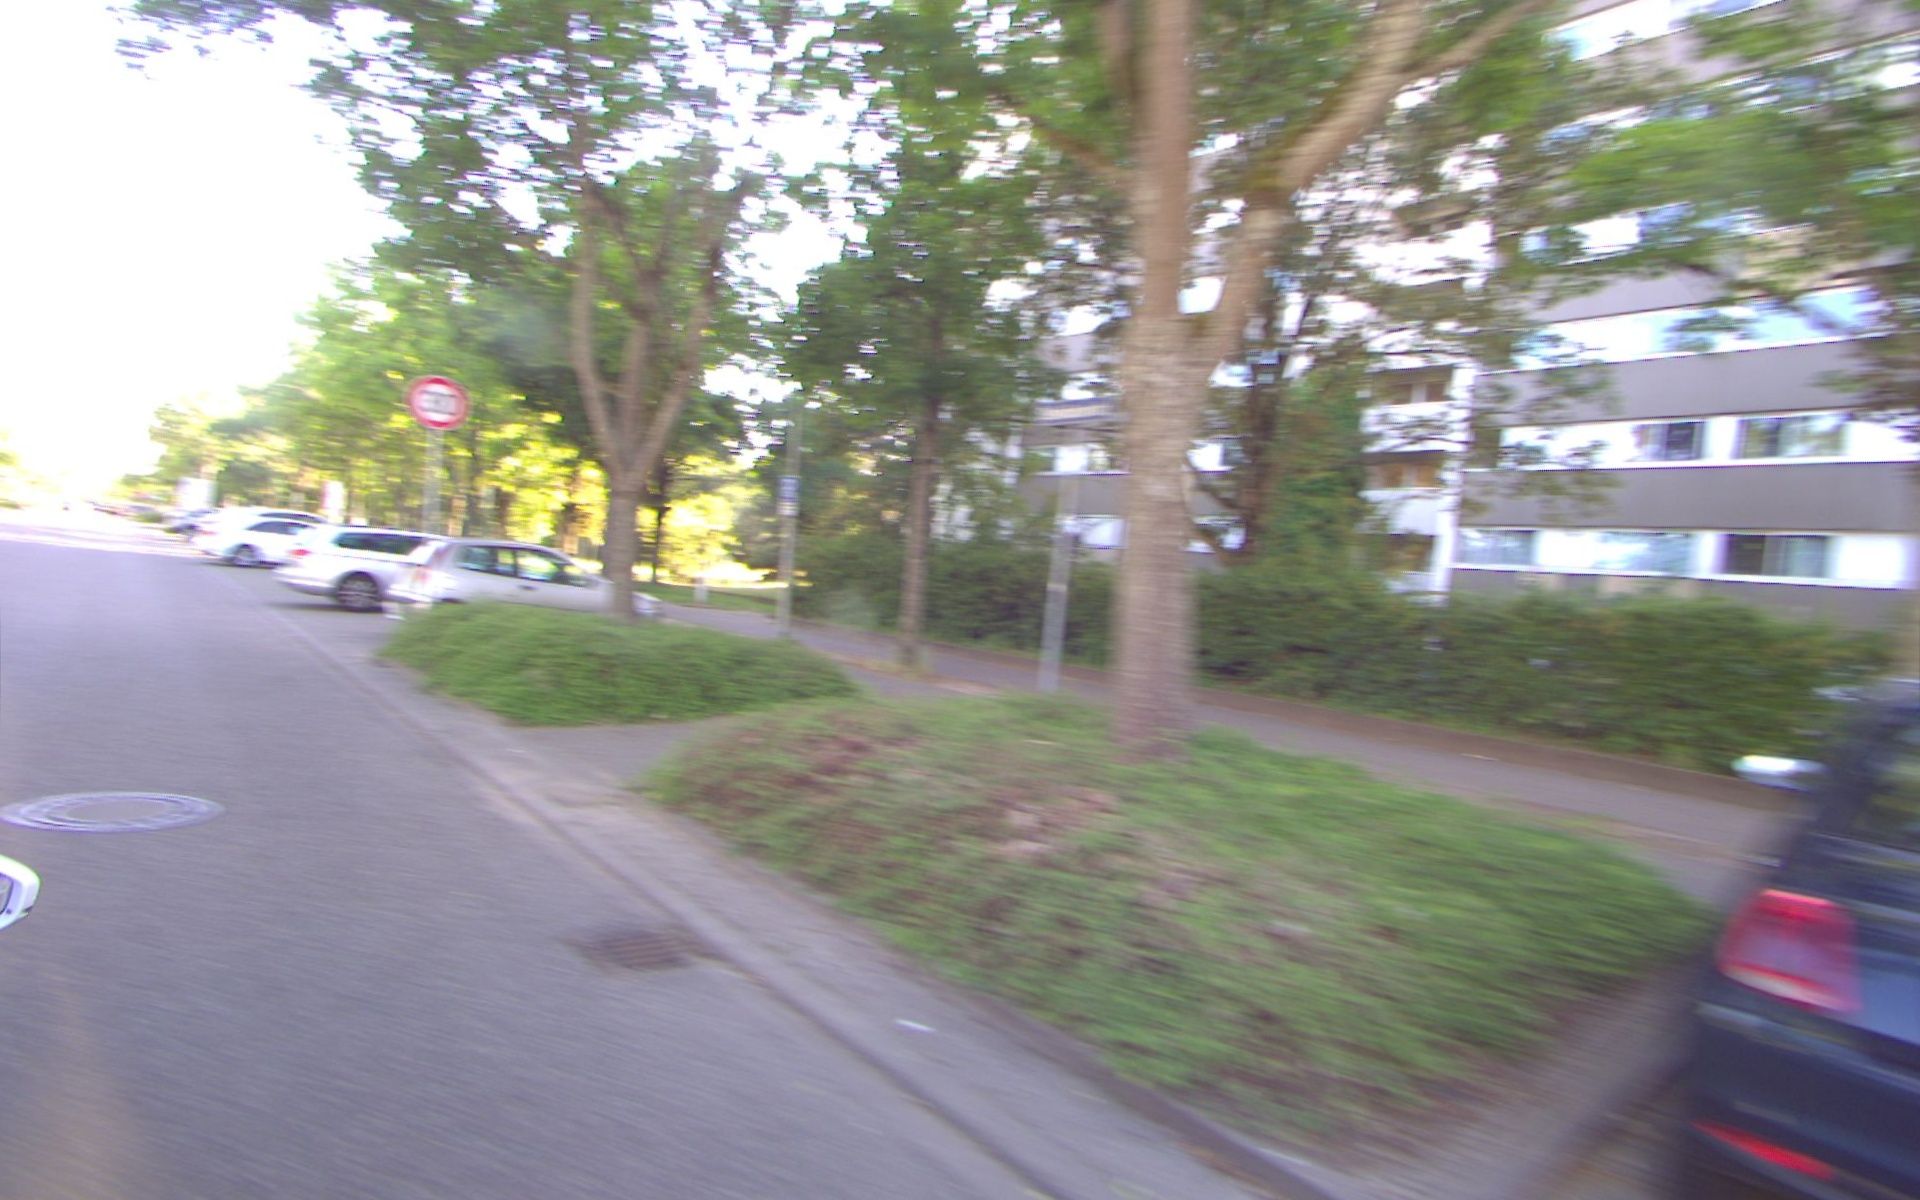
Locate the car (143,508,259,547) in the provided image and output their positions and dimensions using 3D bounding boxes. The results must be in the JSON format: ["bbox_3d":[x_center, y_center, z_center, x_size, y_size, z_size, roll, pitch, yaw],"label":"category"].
[{"bbox_3d":[-34.934,-3.336,46.341,4.142,1.448,1.977,2,3,-41],"label":"car"}]

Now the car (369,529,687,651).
[{"bbox_3d":[-6.327,-0.104,14.961,3.967,1.470,1.697,4,2,-41],"label":"car"}]

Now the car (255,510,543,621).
[{"bbox_3d":[-9.984,-0.576,18.034,4.250,1.446,1.809,6,0,-37],"label":"car"}]

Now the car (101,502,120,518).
[{"bbox_3d":[-124.633,-13.205,147.578,1.985,2.039,3.955,6,0,-40],"label":"car"}]

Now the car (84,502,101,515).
[{"bbox_3d":[-151.041,-15.906,175.194,1.985,2.039,3.955,6,0,-40],"label":"car"}]

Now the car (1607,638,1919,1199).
[{"bbox_3d":[3.529,0.981,3.105,3.793,1.519,1.680,3,3,-44],"label":"car"}]

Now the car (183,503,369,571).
[{"bbox_3d":[-20.627,-1.889,30.446,4.414,1.670,1.794,2,4,-43],"label":"car"}]

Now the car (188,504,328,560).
[{"bbox_3d":[-23.733,-2.277,34.066,3.671,1.543,1.630,2,3,-43],"label":"car"}]

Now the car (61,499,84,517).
[{"bbox_3d":[-105.627,-10.973,119.790,1.821,1.797,3.697,6,0,-40],"label":"car"}]

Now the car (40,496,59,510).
[{"bbox_3d":[-141.621,-15.043,156.472,1.985,1.824,3.955,6,0,-40],"label":"car"}]

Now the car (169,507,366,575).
[{"bbox_3d":[-19.276,-1.620,28.115,4.323,1.509,1.717,3,3,-43],"label":"car"}]
